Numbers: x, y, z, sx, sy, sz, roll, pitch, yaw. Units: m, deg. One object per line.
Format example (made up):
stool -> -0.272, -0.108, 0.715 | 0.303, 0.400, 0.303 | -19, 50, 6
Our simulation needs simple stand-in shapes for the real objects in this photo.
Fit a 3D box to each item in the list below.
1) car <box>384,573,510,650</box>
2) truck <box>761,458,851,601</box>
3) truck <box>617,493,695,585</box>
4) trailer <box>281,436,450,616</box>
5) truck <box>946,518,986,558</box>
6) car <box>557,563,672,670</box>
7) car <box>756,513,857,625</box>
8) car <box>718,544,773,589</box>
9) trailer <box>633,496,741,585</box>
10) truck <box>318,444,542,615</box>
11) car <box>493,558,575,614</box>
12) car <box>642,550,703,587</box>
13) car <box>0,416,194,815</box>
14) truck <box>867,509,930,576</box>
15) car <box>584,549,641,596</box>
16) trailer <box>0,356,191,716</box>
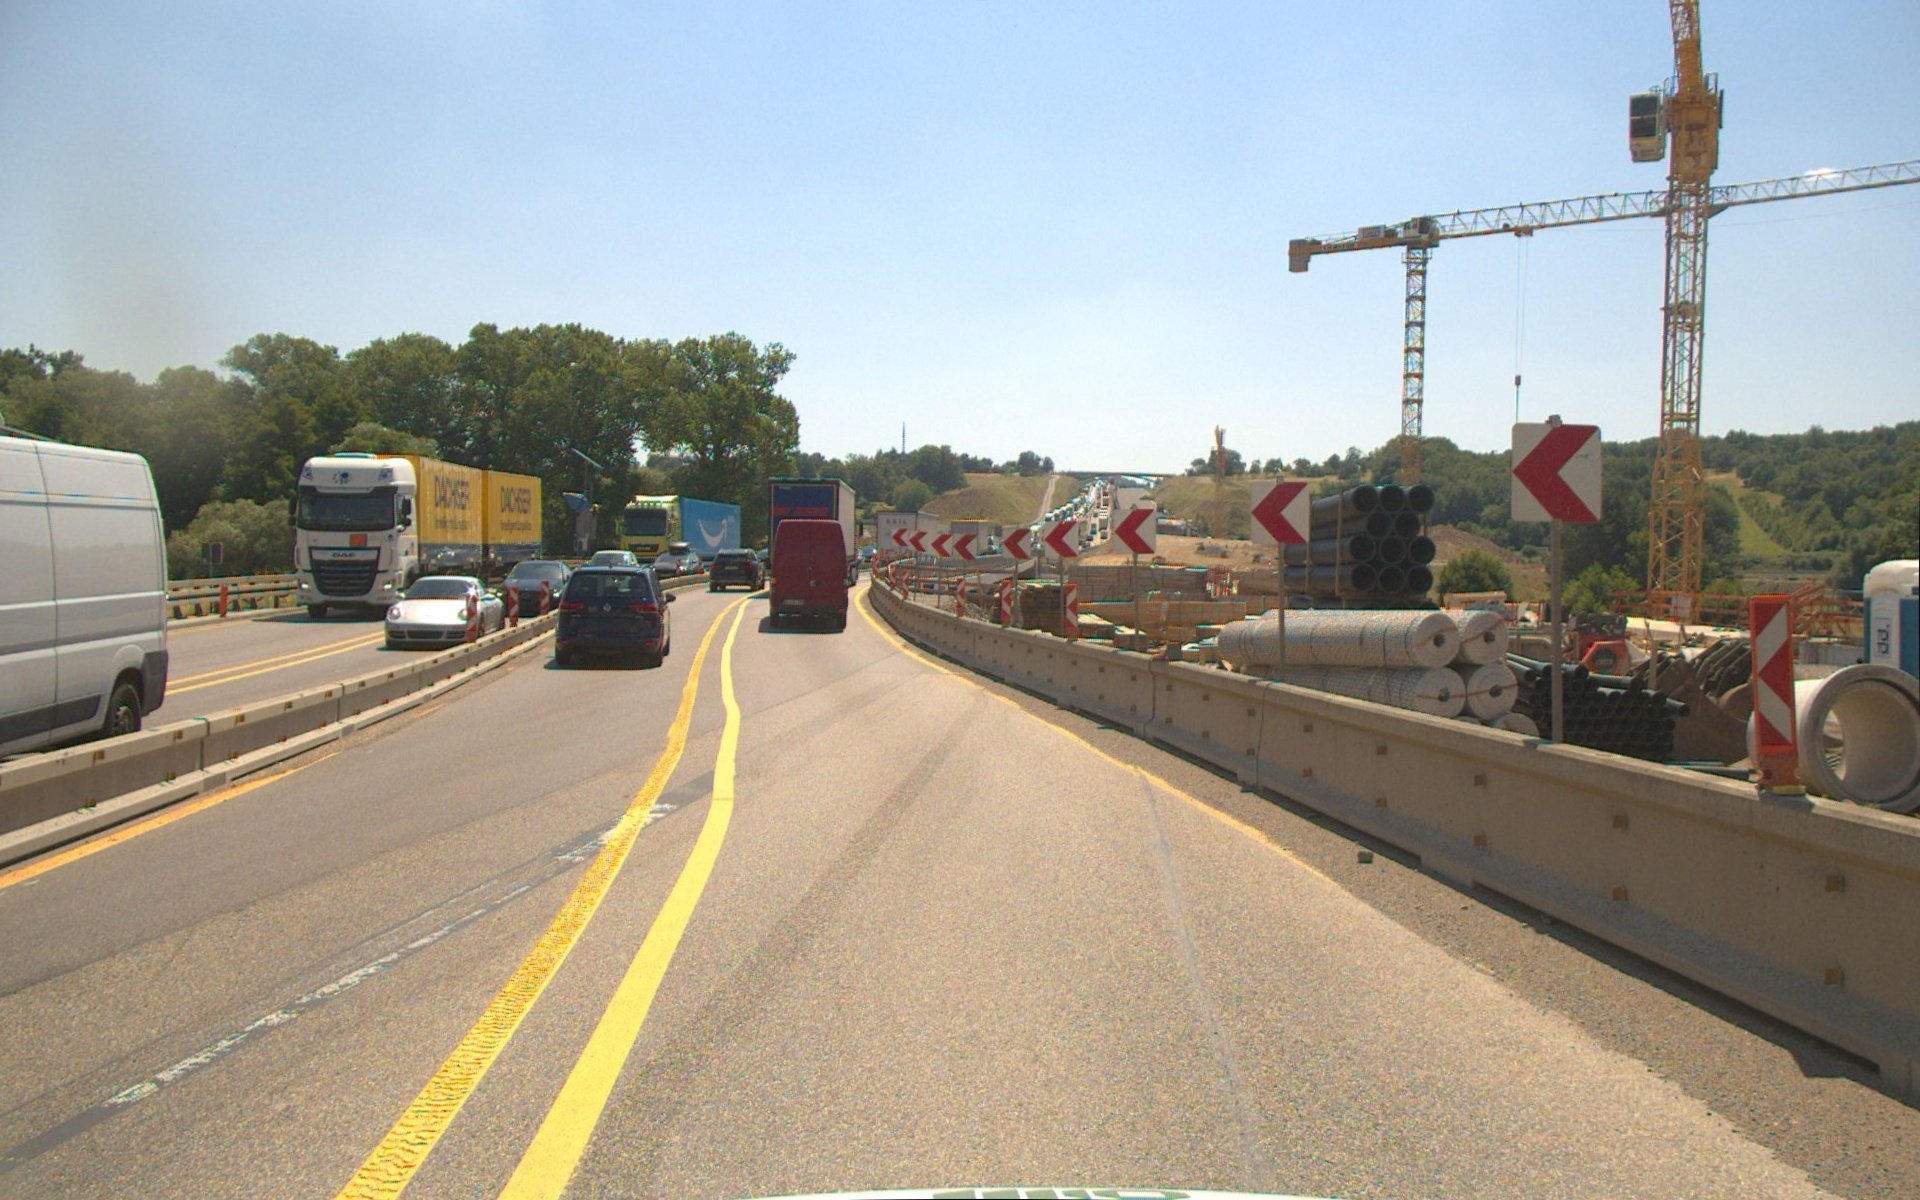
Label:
car -> -9.901, 0.177, 32.198 | 1.645, 1.286, 4.329 | 1, 2, -8
truck -> -5.688, -2.593, 62.002 | 2.885, 5.031, 6.740 | 1, 1, -2
truck -> -15.019, -2.991, 81.963 | 2.570, 4.344, 4.735 | 2, 1, 4
trailer -> -15.183, -1.819, 42.625 | 2.810, 4.303, 5.213 | 1, 1, -5
truck -> 0.626, -5.722, 154.536 | 3.116, 3.029, 8.903 | 1, -2, 4
car -> -5.938, 0.221, 28.808 | 1.702, 1.663, 4.381 | 1, 2, -9
car -> -4.018, -0.778, 42.520 | 2.111, 2.656, 5.426 | 1, 1, -10
car -> -8.343, -1.283, 64.578 | 1.797, 1.664, 4.387 | 1, 0, -3
trailer -> -14.534, -3.091, 89.205 | 2.592, 4.367, 13.317 | 2, 1, 4
truck -> -15.788, -1.996, 50.908 | 2.751, 4.417, 15.366 | 1, 1, -3
car -> -11.536, -0.421, 45.017 | 1.645, 1.385, 4.495 | 1, 2, -8
car -> -12.369, -1.366, 71.364 | 1.783, 1.460, 4.584 | 1, 2, 0
car -> -7.191, 0.092, 10.894 | 2.032, 2.547, 6.472 | 1, -1, -8
truck -> -3.795, -3.620, 104.294 | 3.115, 4.059, 6.746 | 1, 2, 5
car -> -12.511, -1.025, 59.662 | 1.605, 1.511, 3.996 | 1, 3, -6
trailer -> -11.652, -0.715, 18.501 | 2.478, 3.855, 10.227 | 2, 0, -8
